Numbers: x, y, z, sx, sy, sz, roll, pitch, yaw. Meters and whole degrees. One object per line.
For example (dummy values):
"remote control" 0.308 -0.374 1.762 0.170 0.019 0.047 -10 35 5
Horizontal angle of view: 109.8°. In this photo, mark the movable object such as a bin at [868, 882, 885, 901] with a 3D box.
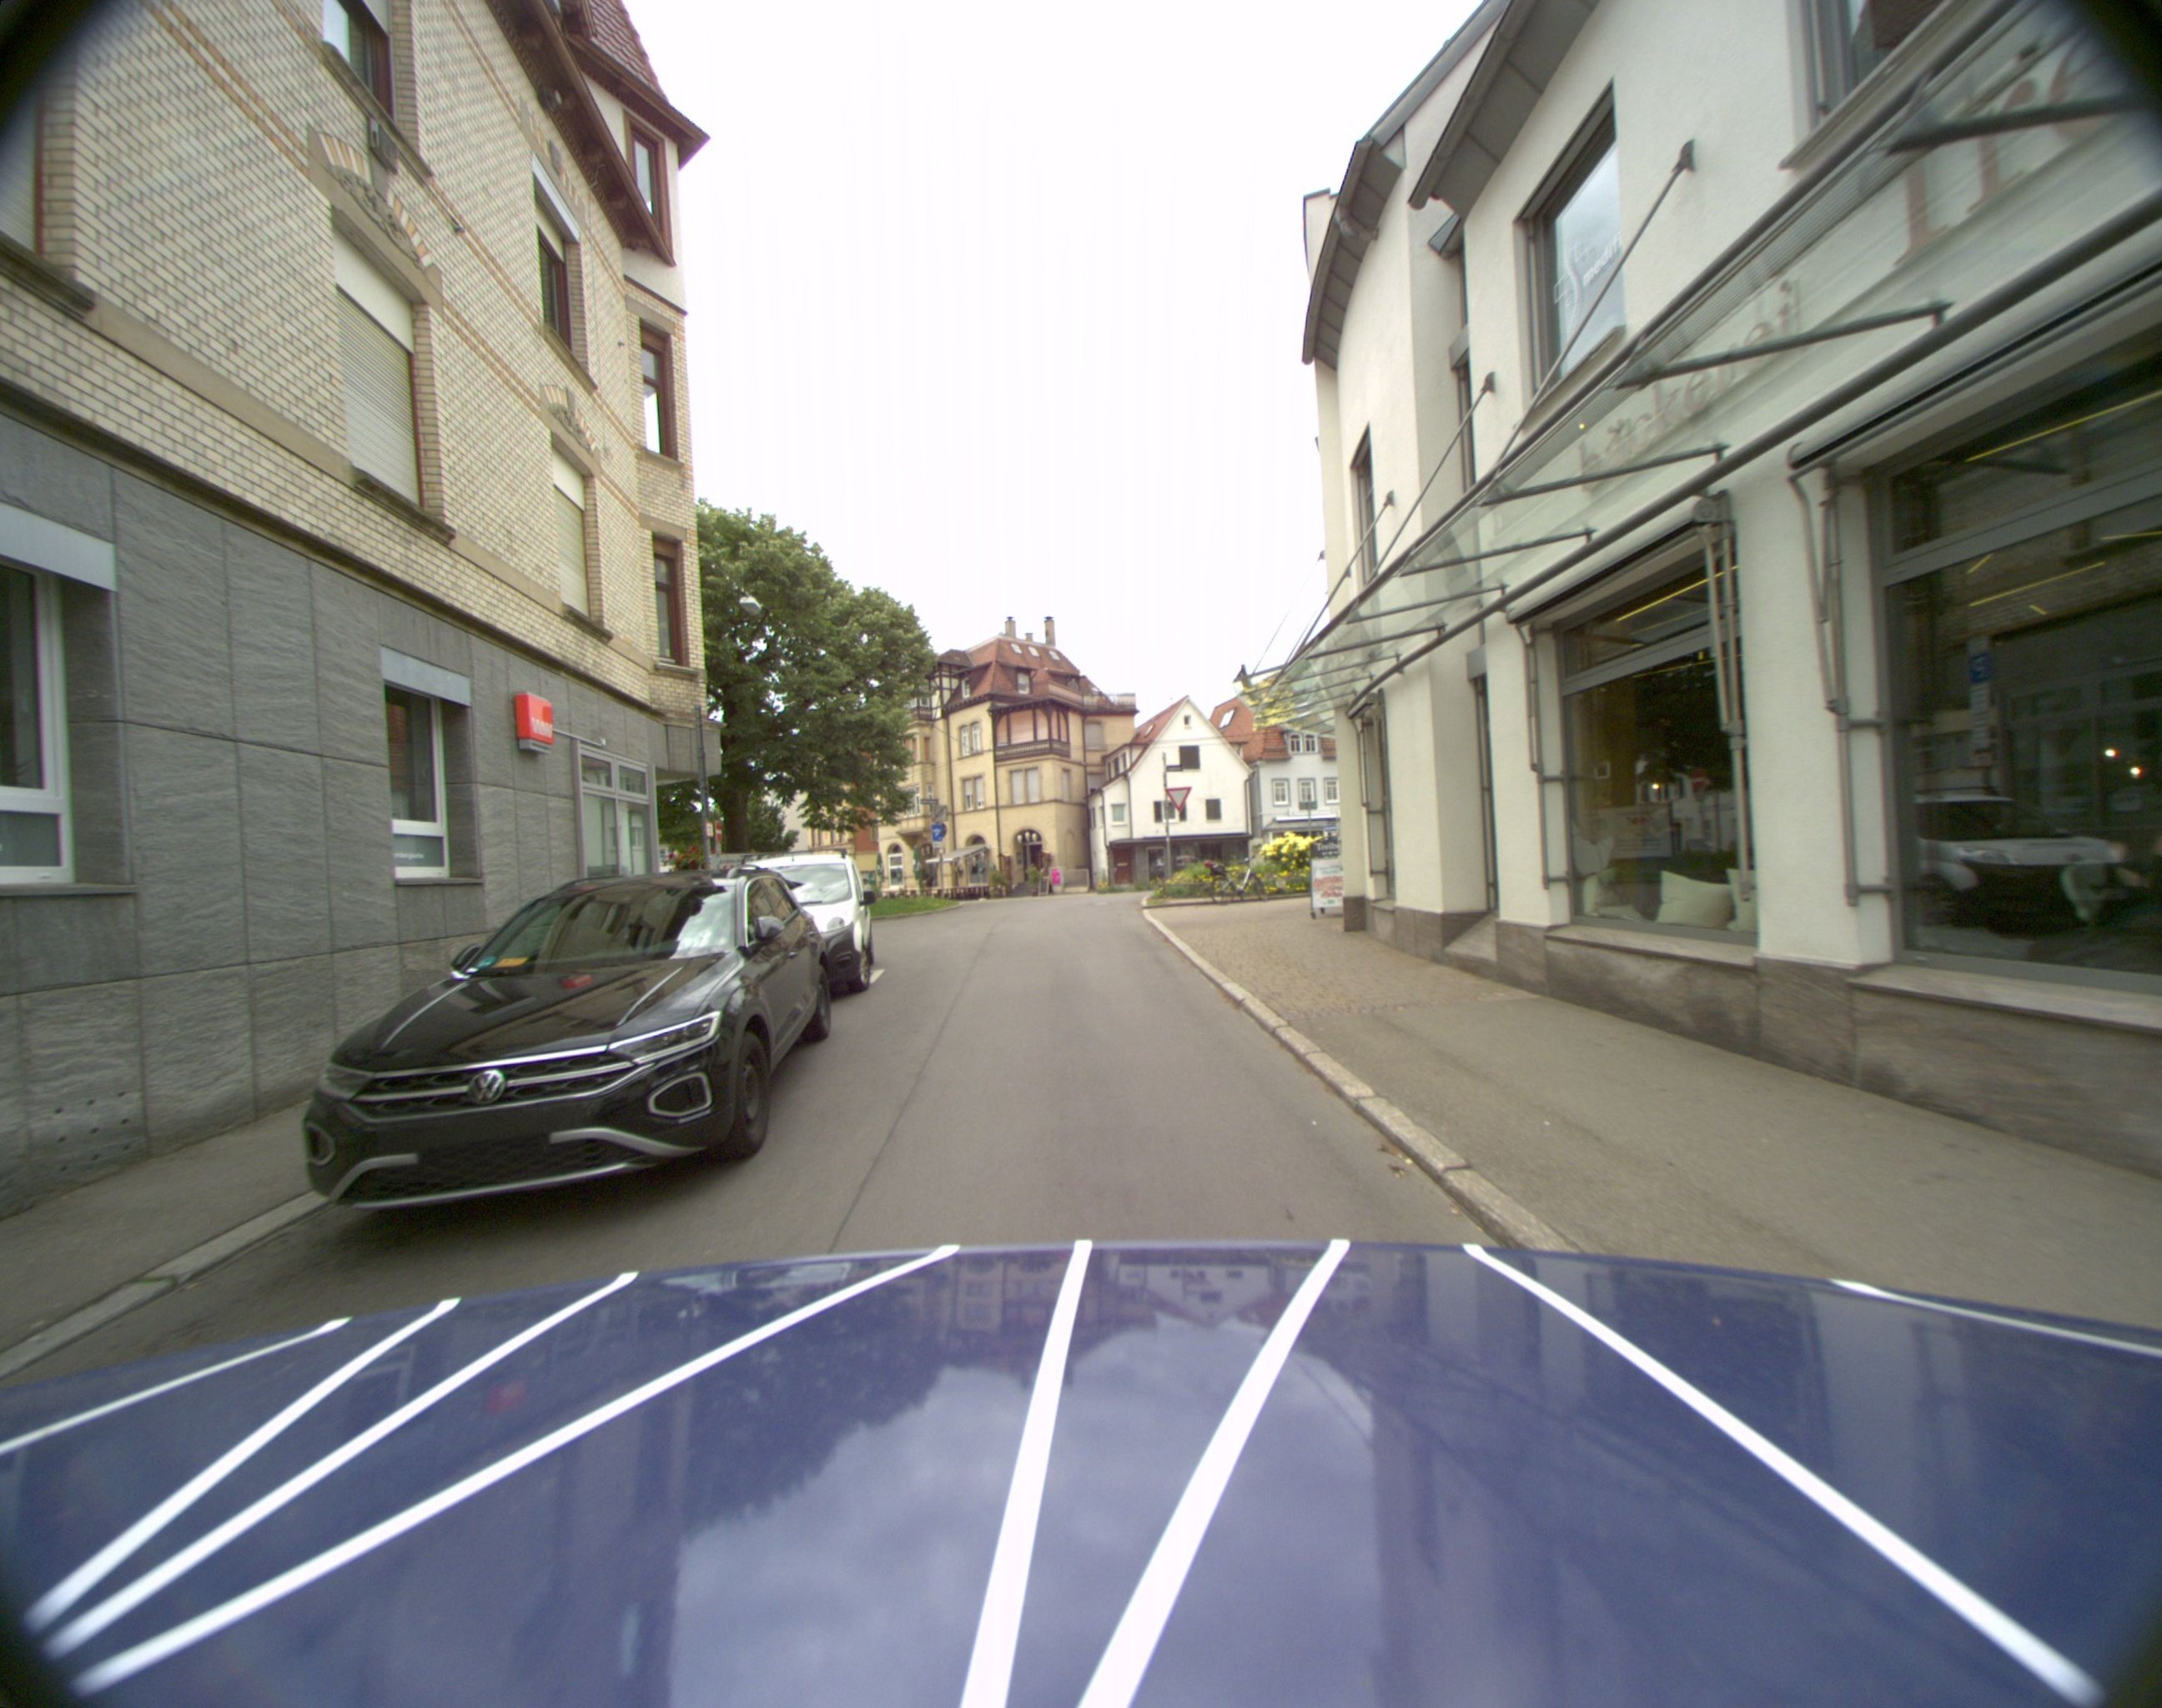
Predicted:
"movable object such as a bin" -16.205 2.944 60.283 0.946 1.371 0.821 -6 4 -35

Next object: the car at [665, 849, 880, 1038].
"car" -3.685 0.936 9.881 1.832 1.782 4.214 -4 0 -13

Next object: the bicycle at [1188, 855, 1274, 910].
"bicycle" 3.831 0.712 19.442 1.981 1.232 0.743 -4 -1 -18

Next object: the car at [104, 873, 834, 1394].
"car" -2.885 1.031 5.029 1.794 1.591 4.537 -4 1 -12

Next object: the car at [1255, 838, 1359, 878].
"car" 9.408 0.148 31.905 3.994 1.347 1.758 -4 0 12

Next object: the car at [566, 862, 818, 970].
"car" -7.456 1.180 14.667 4.015 1.694 1.864 -4 1 17
